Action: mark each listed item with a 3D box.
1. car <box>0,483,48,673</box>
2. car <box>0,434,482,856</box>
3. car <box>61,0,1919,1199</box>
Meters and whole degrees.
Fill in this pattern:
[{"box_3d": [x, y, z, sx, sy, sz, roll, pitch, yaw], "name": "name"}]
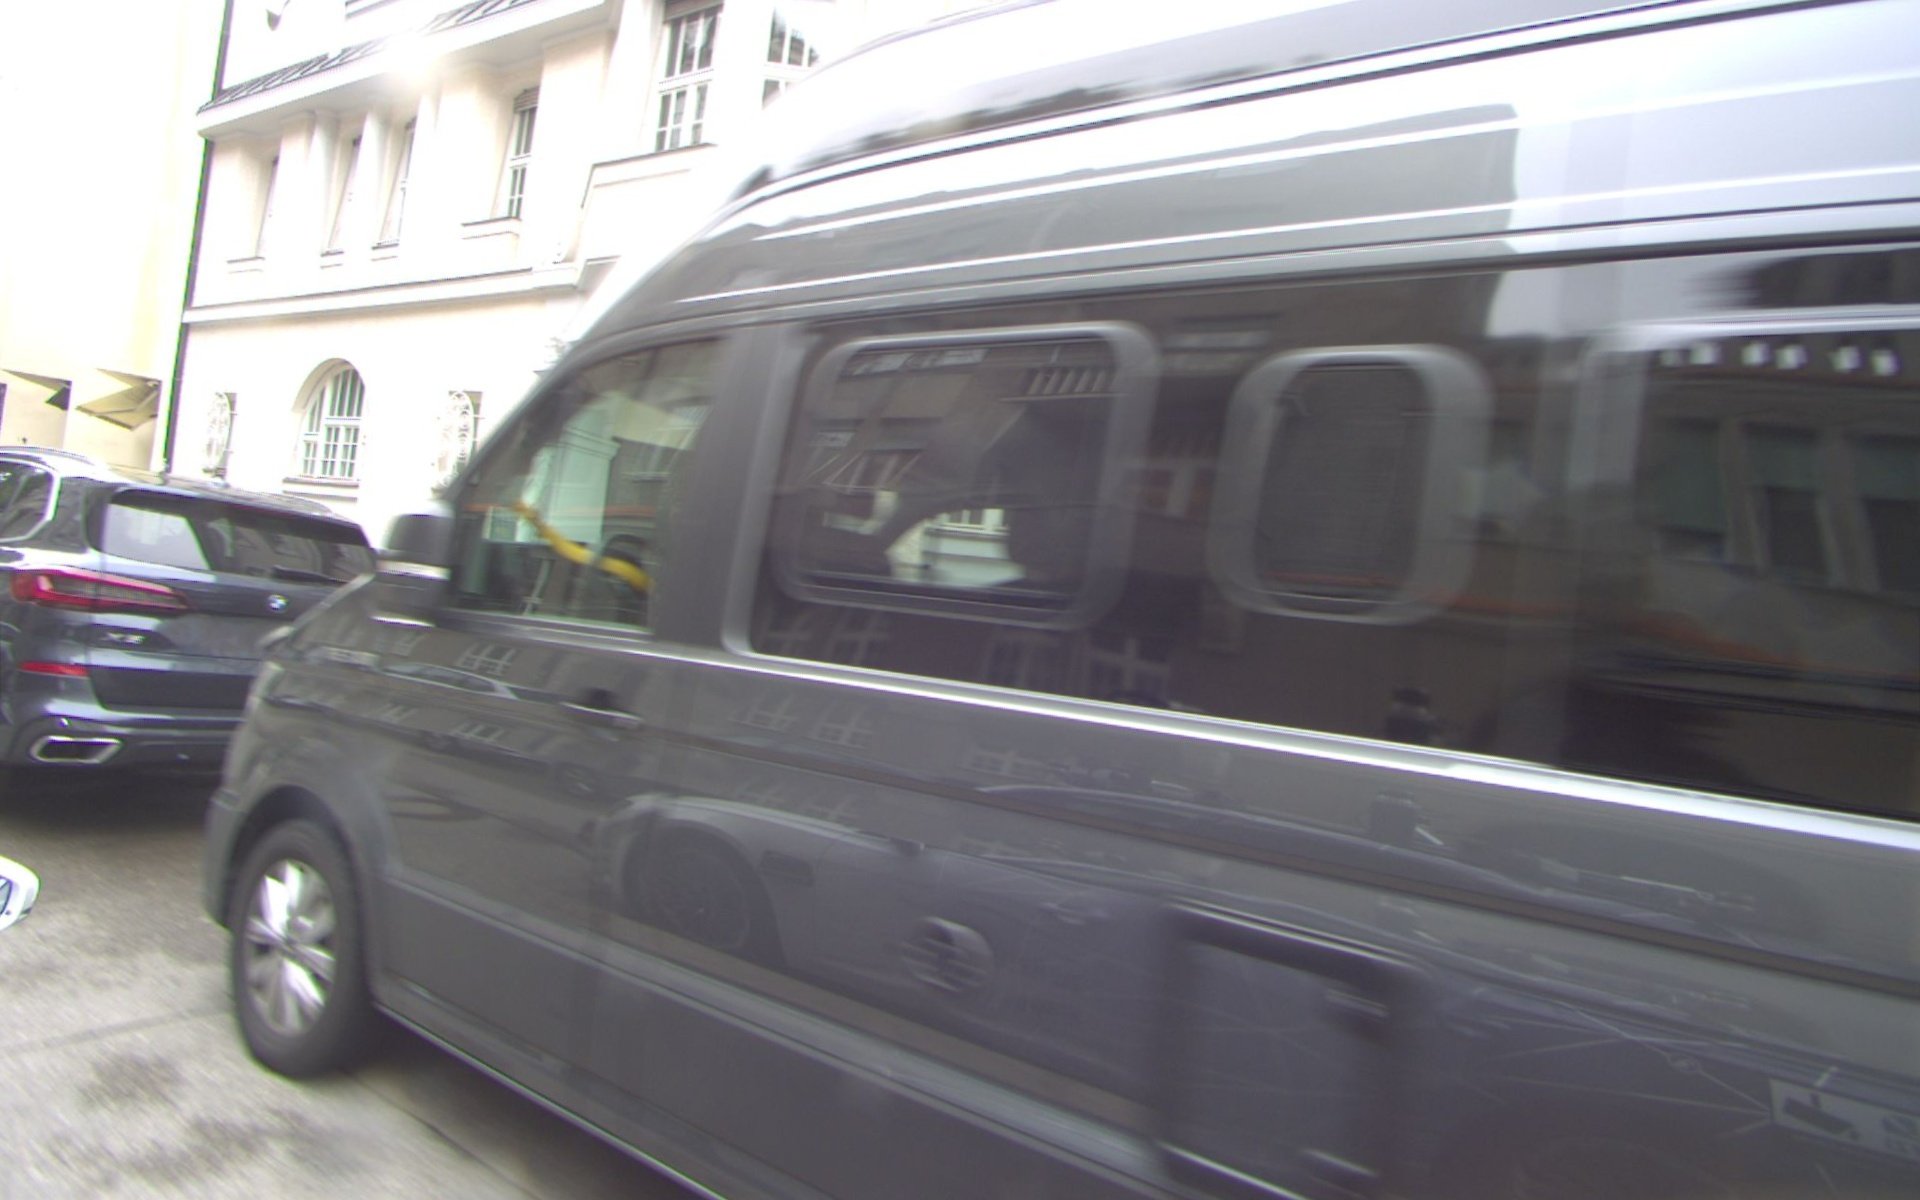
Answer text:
[{"box_3d": [-10.137, -0.442, 9.072, 3.902, 1.610, 1.637, 7, -1, 31], "name": "car"}, {"box_3d": [-5.299, 0.058, 6.078, 4.596, 1.708, 1.998, 7, -2, 31], "name": "car"}, {"box_3d": [0.556, 0.181, 2.521, 6.030, 2.993, 2.260, 6, -3, 31], "name": "car"}]
